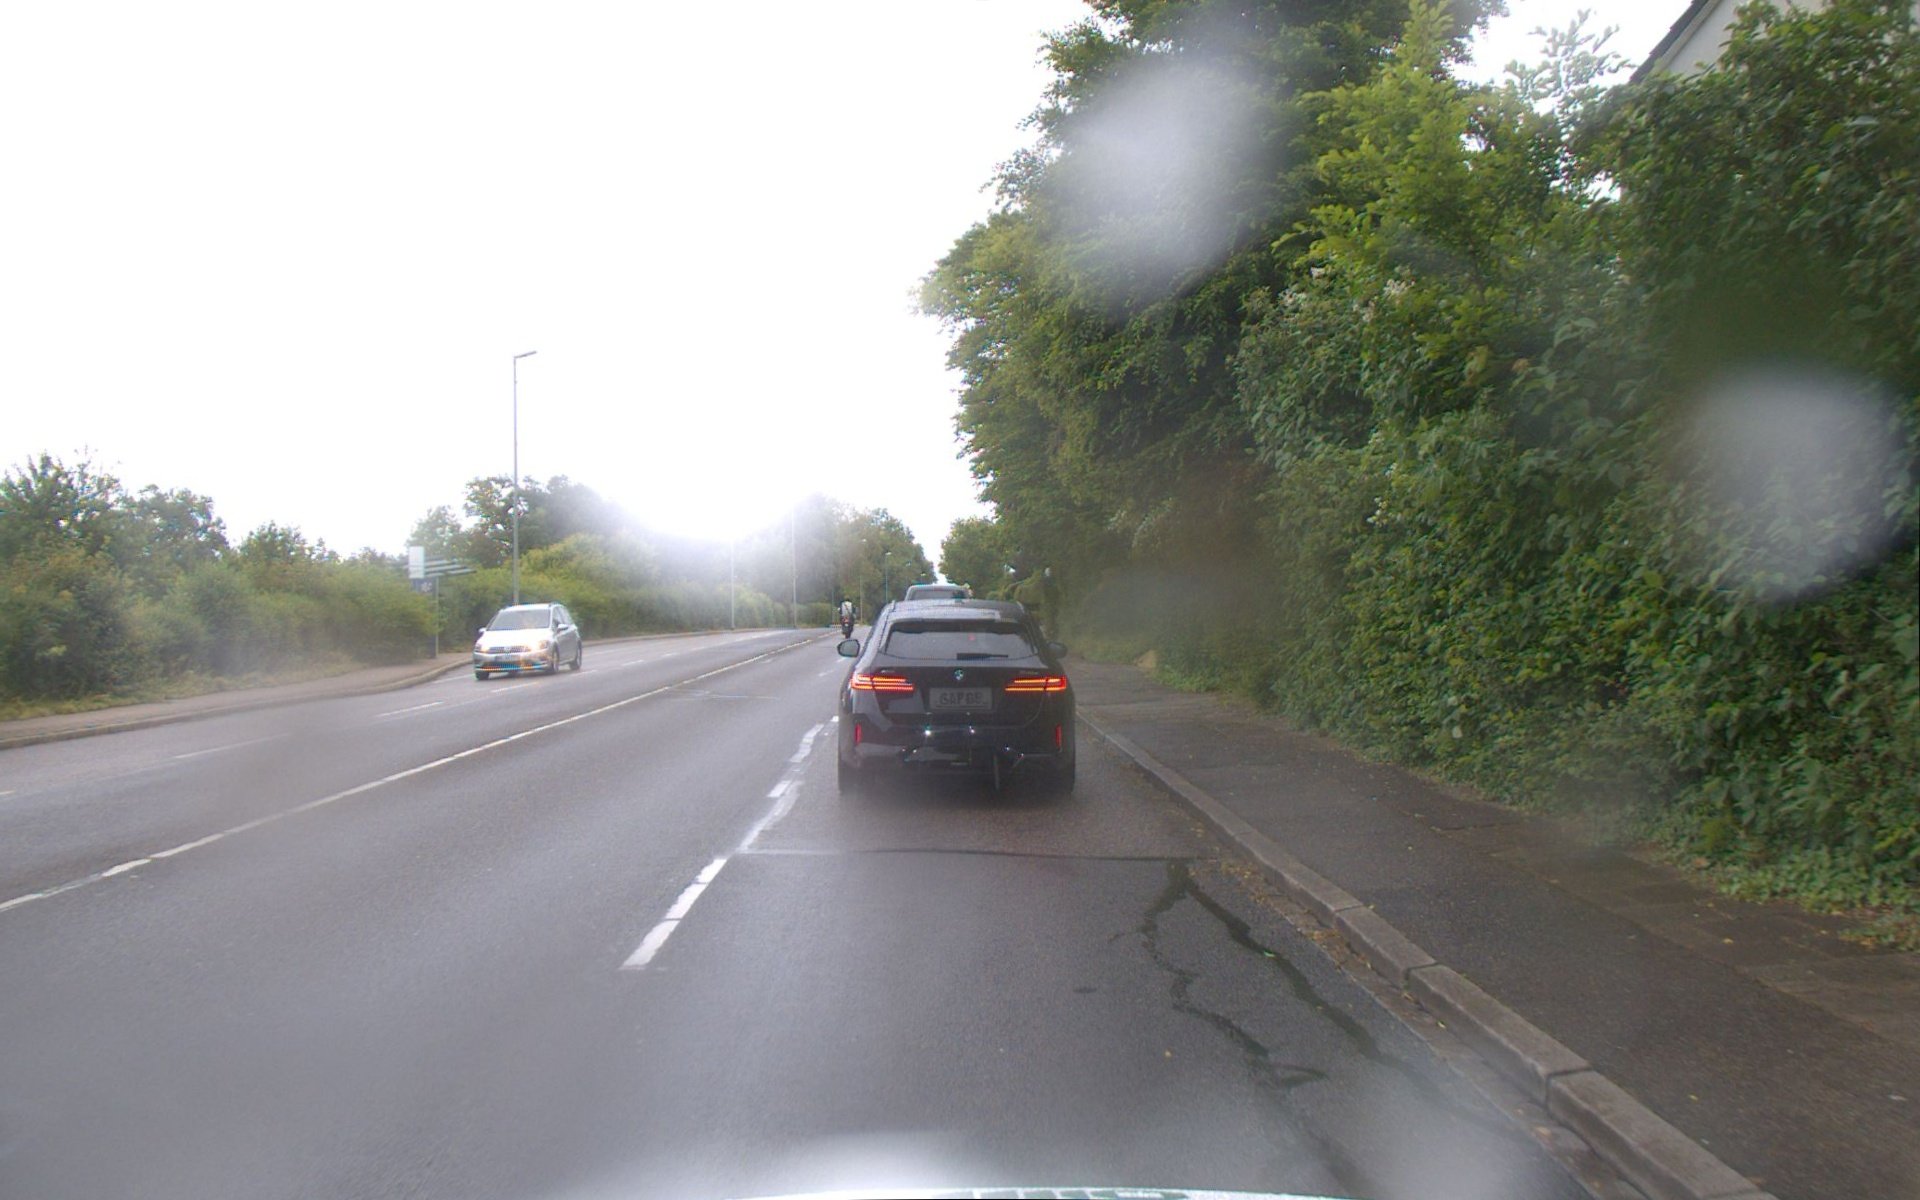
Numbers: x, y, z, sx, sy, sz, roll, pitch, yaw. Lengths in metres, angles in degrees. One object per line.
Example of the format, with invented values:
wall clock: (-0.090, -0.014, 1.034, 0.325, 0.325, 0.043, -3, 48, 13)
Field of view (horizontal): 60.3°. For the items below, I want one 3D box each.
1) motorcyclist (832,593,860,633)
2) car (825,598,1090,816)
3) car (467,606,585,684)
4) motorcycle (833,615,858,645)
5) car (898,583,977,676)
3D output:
motorcyclist: (-4.541, 0.519, 66.048, 1.018, 1.595, 0.855, 1, -1, -1)
car: (-0.009, 0.789, 13.796, 1.858, 1.515, 4.000, 1, -1, 0)
car: (-9.779, 0.977, 37.536, 1.721, 1.596, 3.998, -2, 0, -3)
motorcycle: (-4.558, 1.189, 66.049, 0.858, 1.144, 2.740, 1, -1, -1)
car: (-0.490, 0.622, 35.986, 1.596, 1.865, 3.999, -1, 0, -1)
